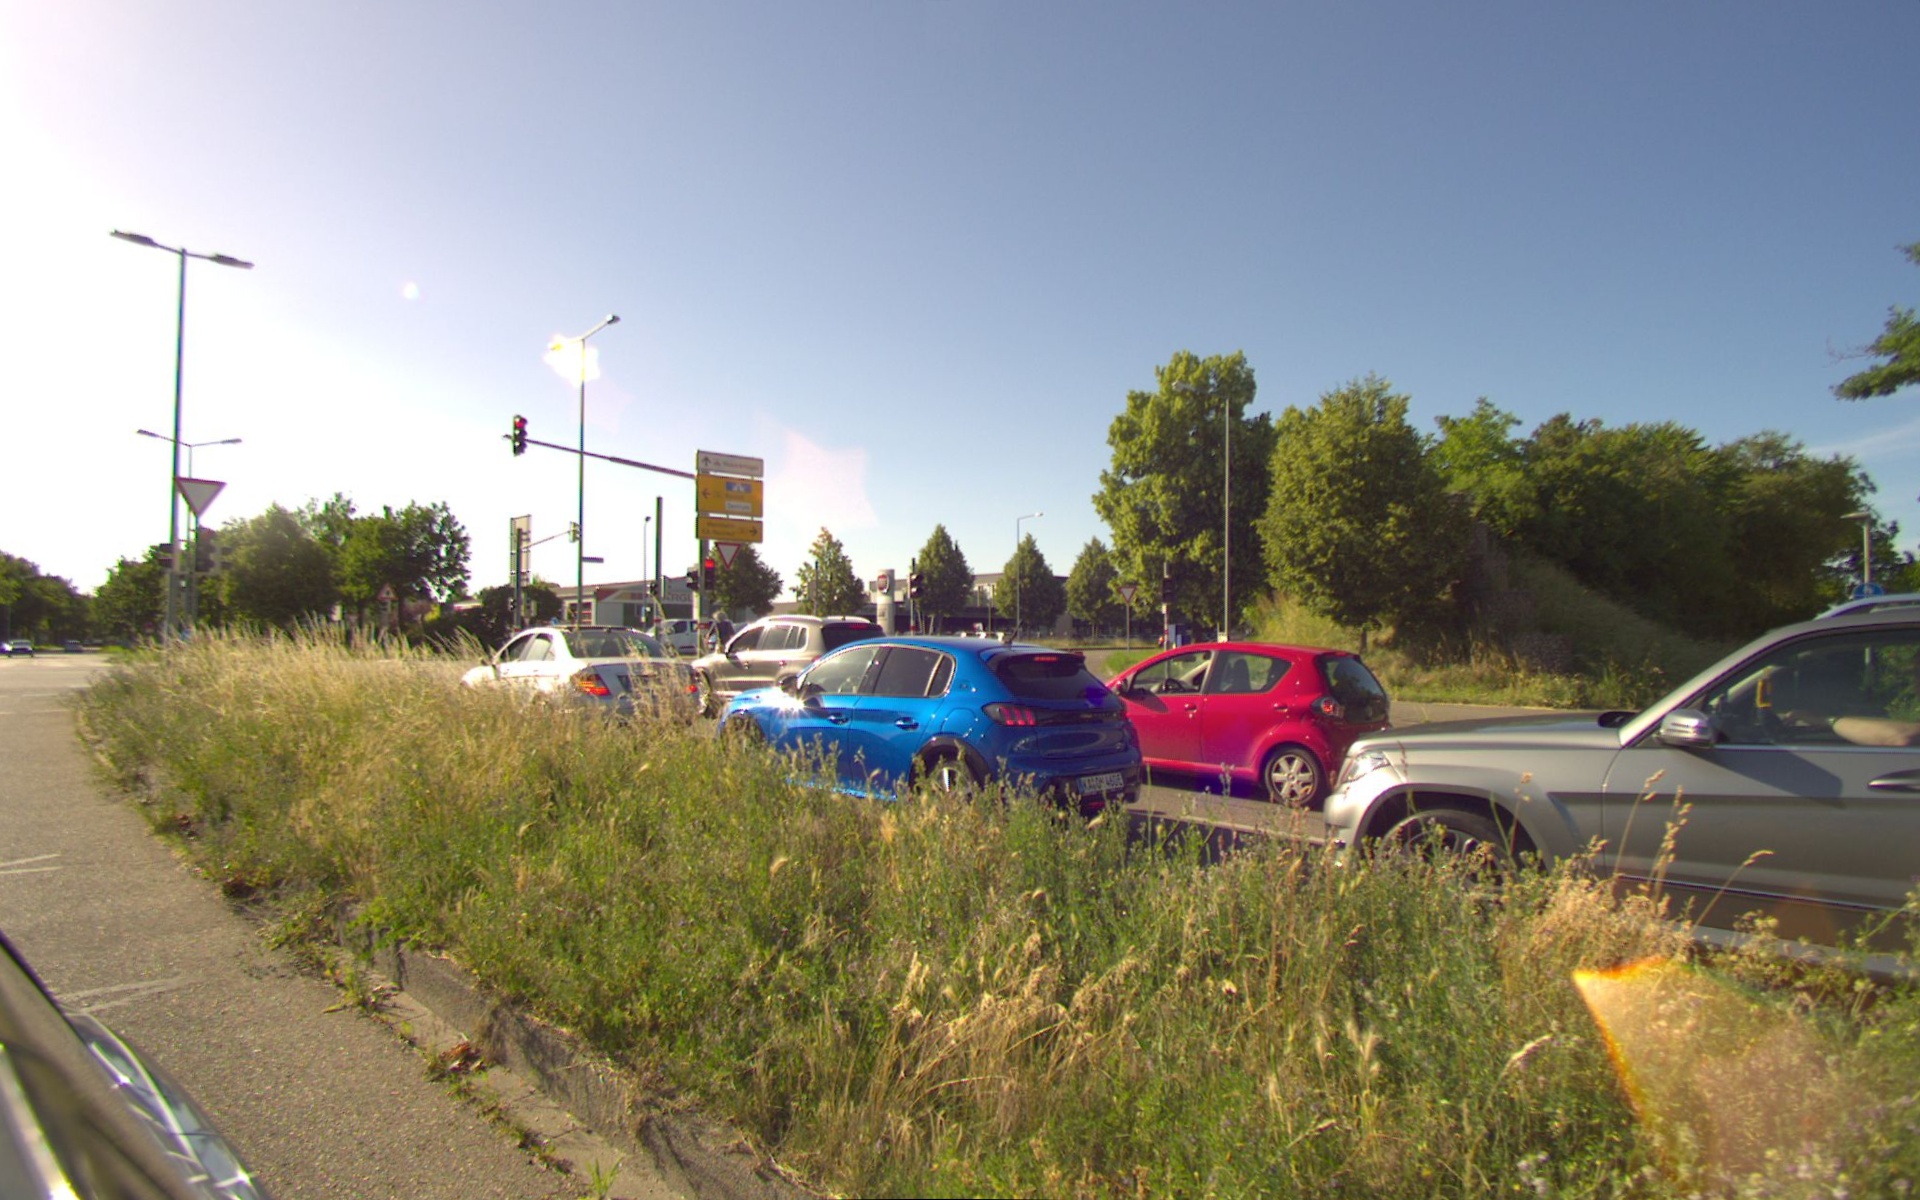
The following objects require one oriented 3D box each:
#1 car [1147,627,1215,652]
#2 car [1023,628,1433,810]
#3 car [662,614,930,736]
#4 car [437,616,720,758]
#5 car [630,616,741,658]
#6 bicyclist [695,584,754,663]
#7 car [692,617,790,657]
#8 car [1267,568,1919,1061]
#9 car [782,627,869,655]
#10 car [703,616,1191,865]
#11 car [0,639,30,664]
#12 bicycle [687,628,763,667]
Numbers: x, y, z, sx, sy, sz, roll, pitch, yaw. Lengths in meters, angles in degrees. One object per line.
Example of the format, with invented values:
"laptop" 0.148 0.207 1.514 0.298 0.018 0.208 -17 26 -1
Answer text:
"car" 12.625 2.239 57.632 2.044 1.319 4.625 1 -1 36
"car" 2.554 1.042 10.249 1.626 1.494 3.716 2 -3 -44
"car" -2.732 1.099 16.120 1.970 1.656 4.534 2 -3 -44
"car" -5.084 1.008 13.131 1.772 1.517 4.534 2 -3 -44
"car" -13.948 1.905 51.681 2.047 2.029 5.202 -4 -5 41
"bicyclist" -5.339 0.535 22.898 0.736 1.715 1.242 2 -3 -45
"car" -9.864 1.685 45.759 1.892 1.657 3.983 -4 -5 41
"car" 3.813 0.741 4.123 1.970 1.628 4.533 3 -3 -45
"car" -6.574 2.009 49.796 1.892 1.284 3.983 -4 -5 41
"car" -0.291 0.911 8.123 1.726 1.494 3.891 2 -3 -44
"car" -82.991 4.492 88.800 4.001 2.029 1.706 -1 -3 44
"bicycle" -5.333 1.066 22.879 0.740 0.854 1.991 2 -3 -45
